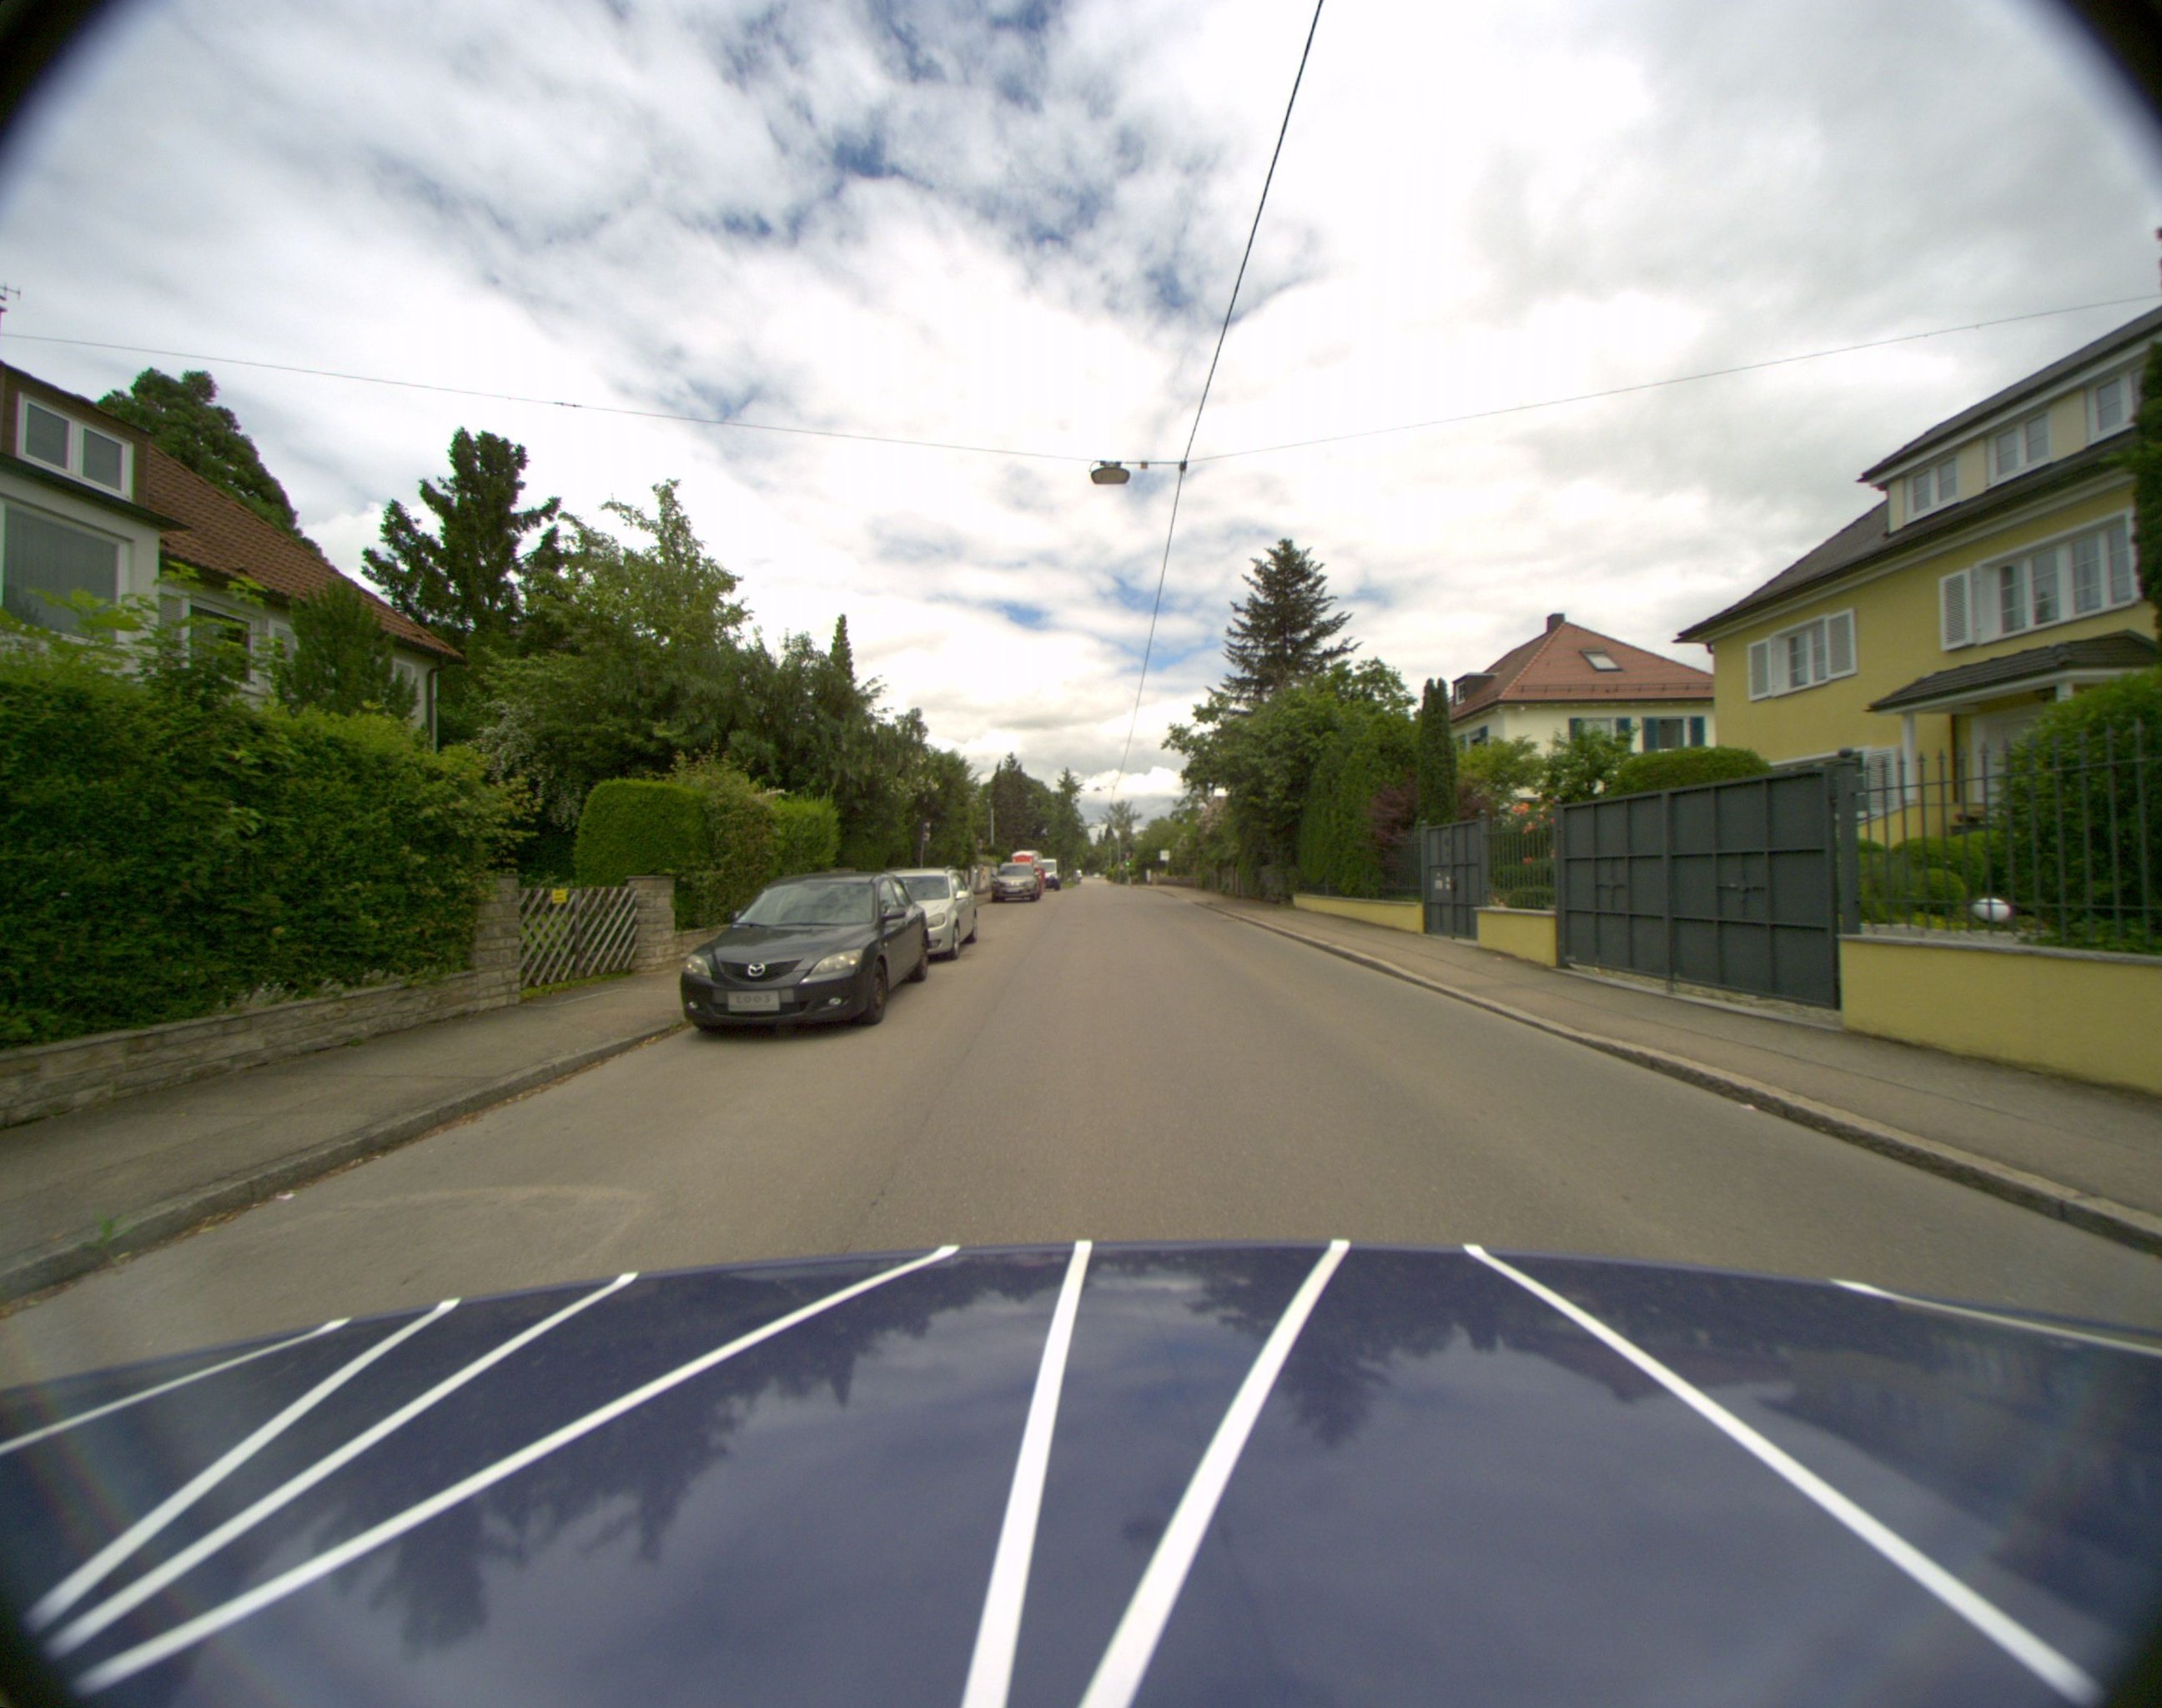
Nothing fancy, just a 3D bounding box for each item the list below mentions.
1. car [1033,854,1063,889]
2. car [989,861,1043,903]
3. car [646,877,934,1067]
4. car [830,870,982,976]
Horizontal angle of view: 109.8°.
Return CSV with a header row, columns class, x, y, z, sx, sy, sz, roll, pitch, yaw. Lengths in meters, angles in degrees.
class,x,y,z,sx,sy,sz,roll,pitch,yaw
car,-2.230,1.181,52.774,1.854,2.211,5.367,-3,0,-1
car,-2.692,1.126,32.200,1.878,1.622,4.126,-2,-1,0
car,-2.836,1.047,8.455,1.721,1.451,4.140,-1,0,-2
car,-2.869,1.066,13.407,1.761,1.468,4.357,-1,0,-2
